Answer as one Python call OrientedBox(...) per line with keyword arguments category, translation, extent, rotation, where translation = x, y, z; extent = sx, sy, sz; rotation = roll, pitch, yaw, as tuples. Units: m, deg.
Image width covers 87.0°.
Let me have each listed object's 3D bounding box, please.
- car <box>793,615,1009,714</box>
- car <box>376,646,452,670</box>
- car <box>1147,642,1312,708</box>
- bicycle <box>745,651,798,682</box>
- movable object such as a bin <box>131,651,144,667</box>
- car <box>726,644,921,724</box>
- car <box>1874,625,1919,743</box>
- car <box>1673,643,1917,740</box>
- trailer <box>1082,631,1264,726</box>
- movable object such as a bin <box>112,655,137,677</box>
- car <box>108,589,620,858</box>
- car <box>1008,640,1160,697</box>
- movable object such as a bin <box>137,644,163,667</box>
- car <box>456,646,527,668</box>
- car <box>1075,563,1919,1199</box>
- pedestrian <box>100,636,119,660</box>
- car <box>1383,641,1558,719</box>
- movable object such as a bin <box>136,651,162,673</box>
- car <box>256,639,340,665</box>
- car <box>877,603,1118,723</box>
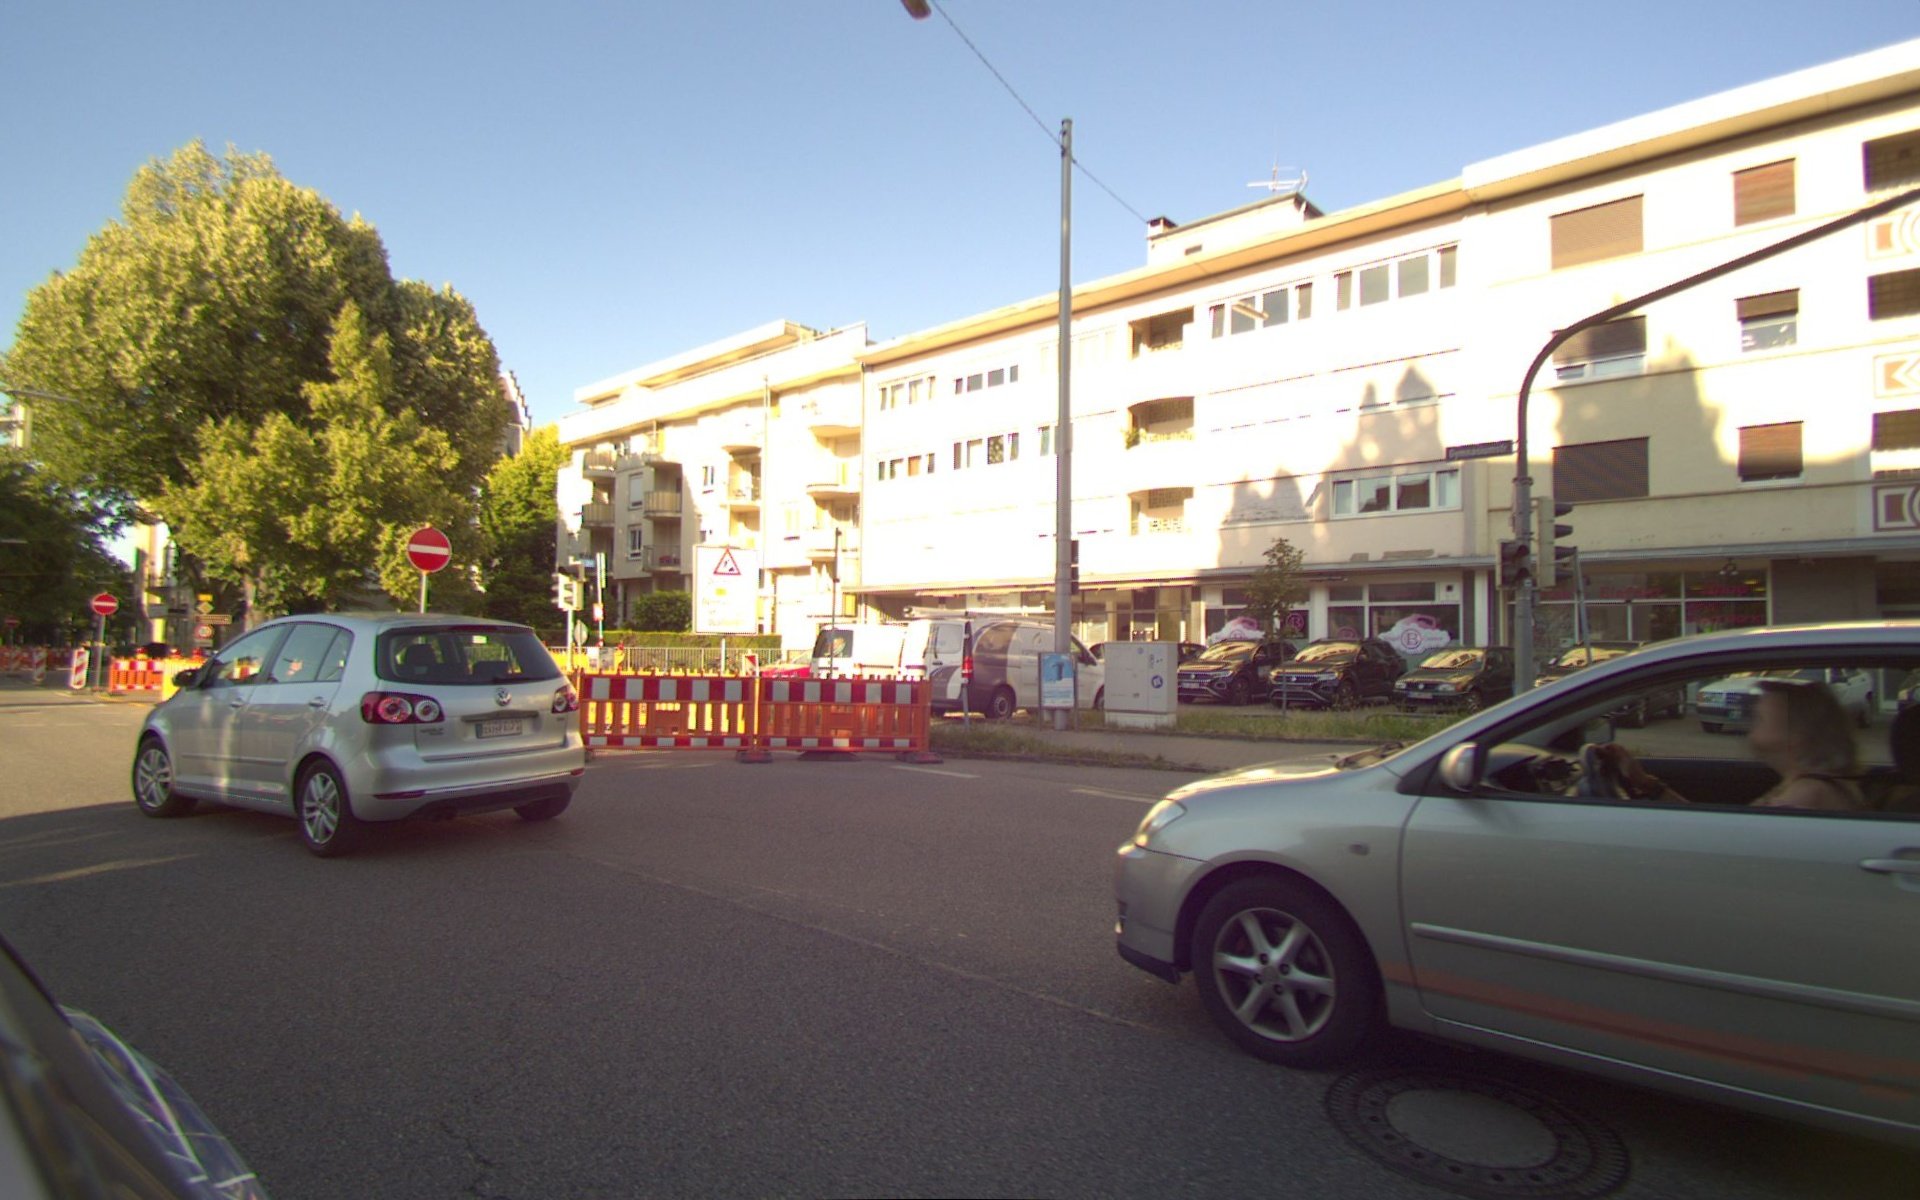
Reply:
OrientedBox(category="car", translation=(-1.166, 1.285, 21.312), extent=(4.262, 1.866, 2.002), rotation=(1, -3, -44))
OrientedBox(category="car", translation=(-35.471, 3.775, 65.775), extent=(3.940, 1.497, 2.001), rotation=(3, -4, -44))
OrientedBox(category="car", translation=(6.678, 1.778, 24.881), extent=(4.263, 1.409, 2.002), rotation=(1, -3, -44))
OrientedBox(category="bicycle", translation=(-6.868, 2.415, 36.938), extent=(2.003, 1.034, 0.385), rotation=(1, -3, -42))
OrientedBox(category="movable object such as a bin", translation=(-54.965, 3.932, 67.627), extent=(0.629, 1.049, 0.764), rotation=(1, -3, -44))
OrientedBox(category="car", translation=(-2.984, 1.800, 22.646), extent=(2.000, 1.490, 3.948), rotation=(-3, -2, 42))
OrientedBox(category="car", translation=(16.121, 1.225, 15.527), extent=(4.254, 1.728, 2.005), rotation=(0, -2, -33))
OrientedBox(category="car", translation=(14.485, 1.485, 17.510), extent=(4.254, 1.409, 2.005), rotation=(0, -2, -33))
OrientedBox(category="trailer", translation=(3.627, 1.245, 16.962), extent=(1.574, 1.407, 3.219), rotation=(-3, -3, 42))
OrientedBox(category="movable object such as a bin", translation=(-58.572, 4.624, 70.945), extent=(1.067, 1.442, 1.411), rotation=(0, -2, -28))
OrientedBox(category="car", translation=(-4.622, 0.799, 7.714), extent=(3.987, 1.555, 1.761), rotation=(-2, -2, 33))
OrientedBox(category="car", translation=(3.531, 1.863, 28.399), extent=(4.263, 1.409, 2.002), rotation=(1, -3, -44))
OrientedBox(category="movable object such as a bin", translation=(-51.822, 3.531, 64.753), extent=(1.345, 1.442, 1.071), rotation=(-3, -3, 41))
OrientedBox(category="car", translation=(-31.898, 3.874, 68.921), extent=(3.940, 1.497, 2.001), rotation=(3, -4, -44))
OrientedBox(category="car", translation=(2.537, 0.685, 2.980), extent=(4.094, 1.491, 1.757), rotation=(-3, -3, 41))
OrientedBox(category="pedestrian", translation=(-57.383, 3.250, 68.268), extent=(0.916, 1.615, 0.813), rotation=(-3, -3, 38))
OrientedBox(category="car", translation=(10.891, 1.615, 21.460), extent=(4.263, 1.409, 2.002), rotation=(1, -3, -44))
OrientedBox(category="movable object such as a bin", translation=(-52.917, 4.041, 66.063), extent=(1.406, 1.442, 1.071), rotation=(-3, -3, 41))
OrientedBox(category="car", translation=(-40.388, 3.180, 61.755), extent=(3.940, 1.564, 2.001), rotation=(3, -4, -44))
OrientedBox(category="car", translation=(0.828, 1.121, 19.210), extent=(2.117, 1.980, 4.617), rotation=(-3, -3, 42))
